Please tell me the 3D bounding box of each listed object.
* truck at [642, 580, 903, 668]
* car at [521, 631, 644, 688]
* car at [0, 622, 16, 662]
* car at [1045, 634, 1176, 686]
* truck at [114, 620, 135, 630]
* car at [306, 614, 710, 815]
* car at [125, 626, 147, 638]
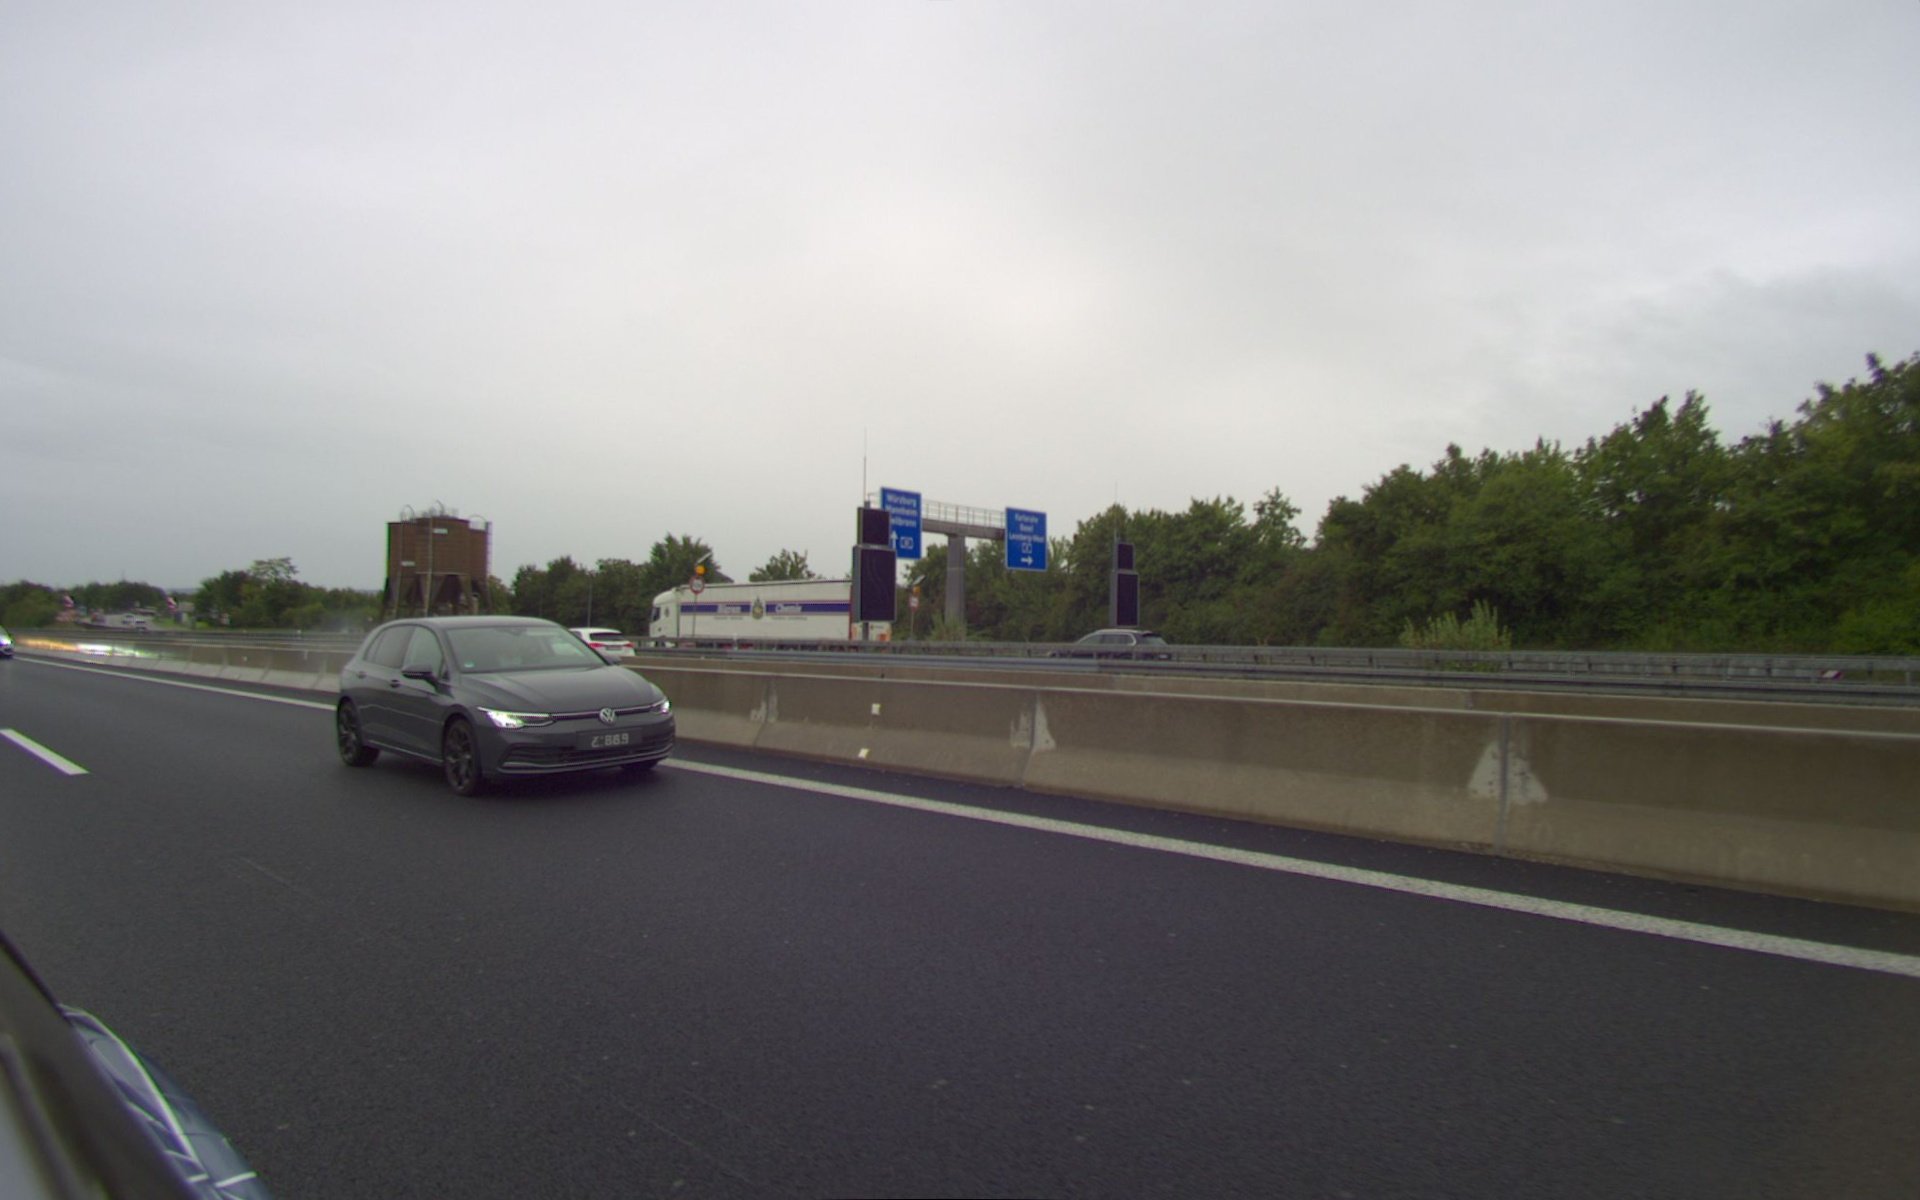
[{"bbox_3d":[-10.056,1.279,51.275,17.129,3.838,3.144,-1,-4,42],"label":"truck"},{"bbox_3d":[-12.085,1.837,32.289,4.314,1.674,1.971,-2,-2,43],"label":"car"},{"bbox_3d":[-40.101,1.725,41.270,4.815,1.603,1.972,-2,-1,42],"label":"car"},{"bbox_3d":[4.838,1.905,32.919,4.049,1.495,1.554,-1,0,44],"label":"car"},{"bbox_3d":[-154.877,4.664,187.614,5.400,1.657,1.974,-1,0,40],"label":"truck"},{"bbox_3d":[-4.397,0.891,9.505,4.365,1.436,1.811,-2,-1,41],"label":"car"},{"bbox_3d":[-128.914,4.993,158.289,4.503,1.775,1.973,-2,-2,41],"label":"car"}]
